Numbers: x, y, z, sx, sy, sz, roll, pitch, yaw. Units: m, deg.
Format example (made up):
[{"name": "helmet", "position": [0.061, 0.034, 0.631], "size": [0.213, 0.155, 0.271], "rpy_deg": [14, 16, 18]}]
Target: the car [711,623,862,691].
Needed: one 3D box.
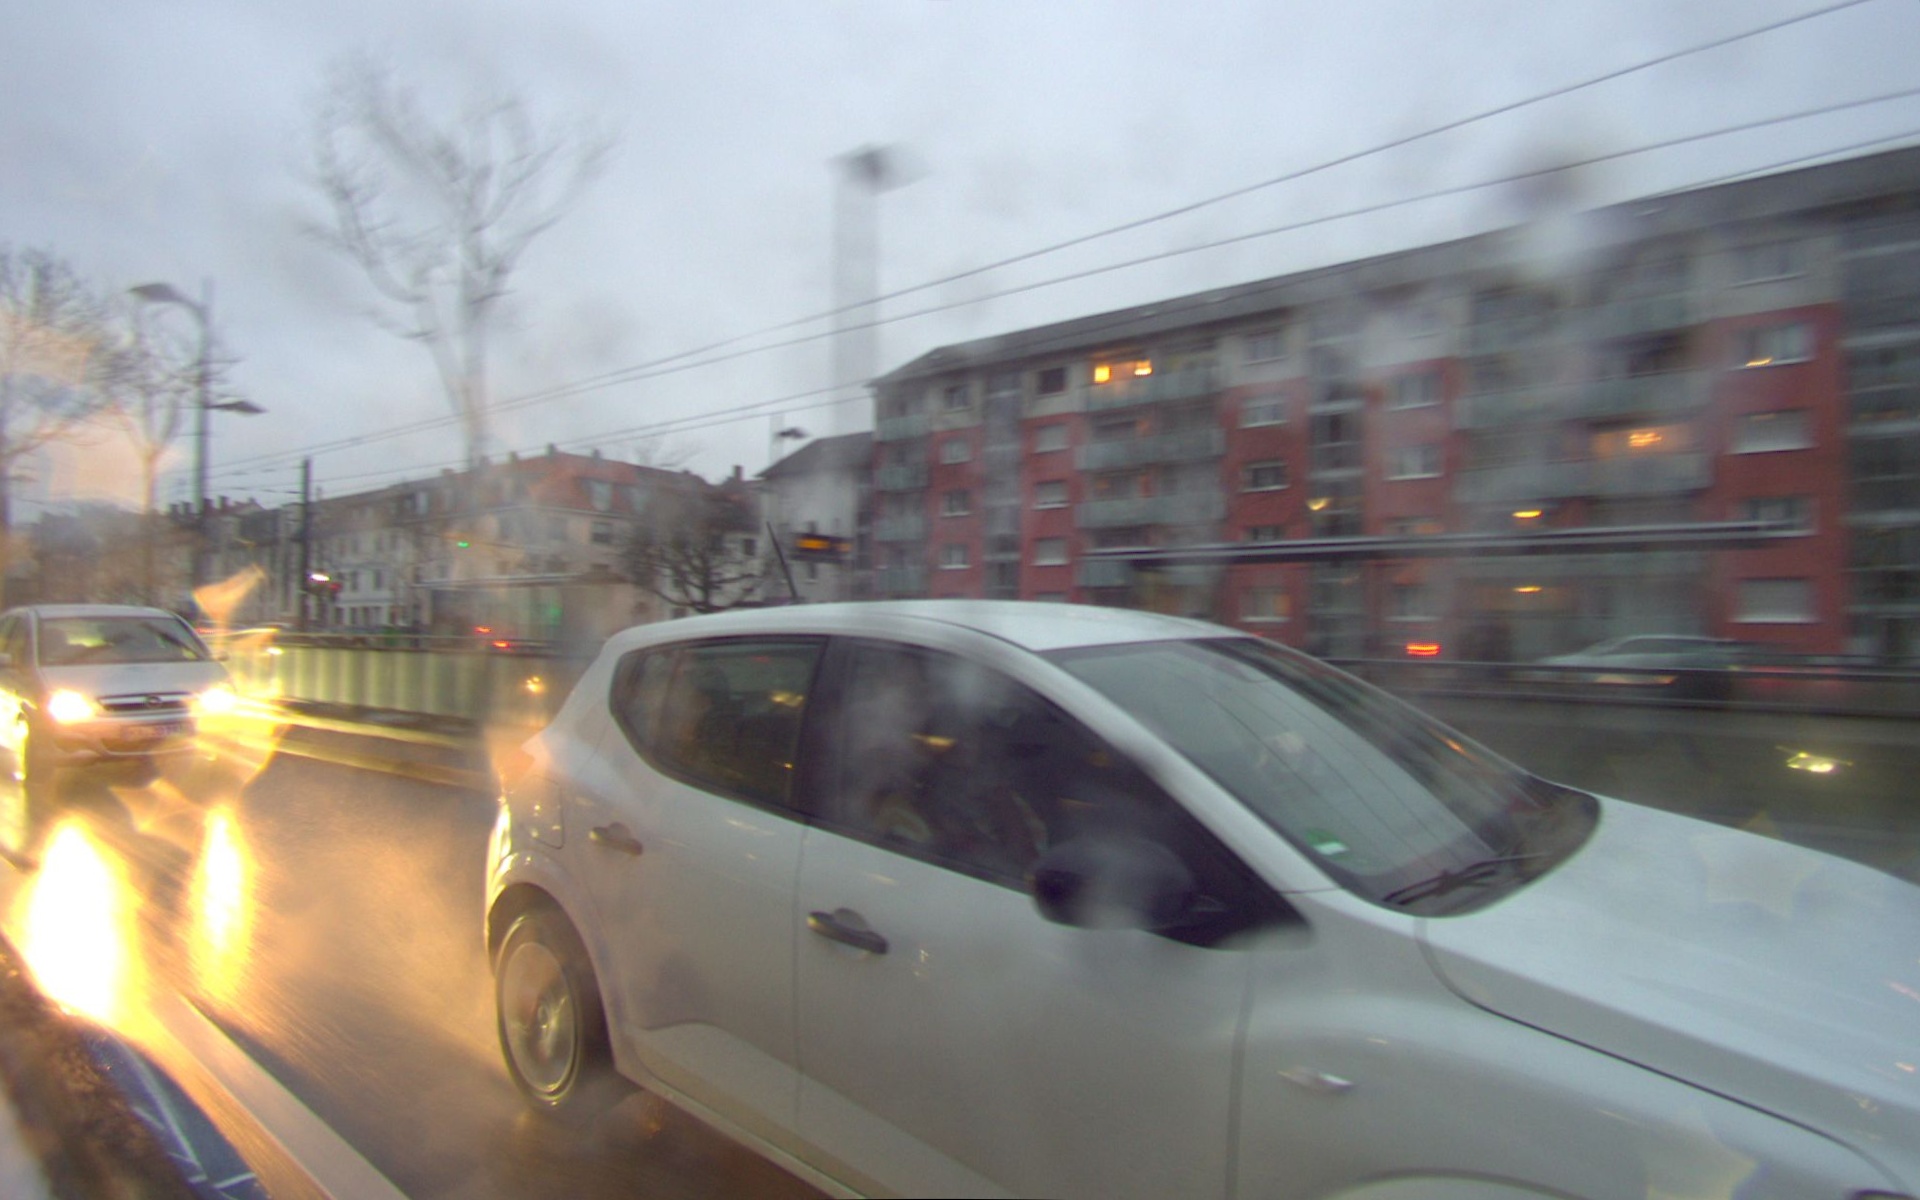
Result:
[{"name": "car", "position": [-5.624, 1.756, 32.492], "size": [4.894, 1.927, 2.004], "rpy_deg": [0, 0, 37]}]

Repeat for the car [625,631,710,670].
[{"name": "car", "position": [-11.594, 1.976, 40.046], "size": [3.370, 1.368, 1.572], "rpy_deg": [0, 0, 37]}]

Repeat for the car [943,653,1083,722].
[{"name": "car", "position": [1.577, 2.603, 30.726], "size": [3.993, 1.772, 1.676], "rpy_deg": [0, 0, 37]}]

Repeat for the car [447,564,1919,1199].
[{"name": "car", "position": [0.459, 0.707, 2.503], "size": [3.998, 1.477, 1.690], "rpy_deg": [0, 0, 41]}]

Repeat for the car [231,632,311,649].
[{"name": "car", "position": [-47.269, 2.784, 69.536], "size": [4.330, 1.140, 1.251], "rpy_deg": [1, -1, -20]}]

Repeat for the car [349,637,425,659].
[{"name": "car", "position": [-35.442, 2.951, 62.666], "size": [3.931, 1.265, 1.449], "rpy_deg": [0, 0, -20]}]

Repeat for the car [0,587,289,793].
[{"name": "car", "position": [-8.680, 0.740, 10.359], "size": [3.997, 1.690, 1.995], "rpy_deg": [0, 0, 40]}]

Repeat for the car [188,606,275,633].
[{"name": "car", "position": [-62.944, 1.656, 87.507], "size": [5.807, 2.272, 1.827], "rpy_deg": [1, -1, -20]}]

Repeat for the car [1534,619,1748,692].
[{"name": "car", "position": [16.357, 1.272, 24.408], "size": [4.147, 1.555, 1.707], "rpy_deg": [0, 0, 40]}]

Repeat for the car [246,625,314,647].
[{"name": "car", "position": [-49.842, 2.641, 74.262], "size": [3.944, 1.516, 1.317], "rpy_deg": [1, 0, -18]}]

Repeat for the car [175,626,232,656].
[{"name": "car", "position": [-44.188, 2.372, 59.100], "size": [3.739, 1.651, 1.510], "rpy_deg": [0, -2, 34]}]

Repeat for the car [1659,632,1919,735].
[{"name": "car", "position": [13.685, 1.310, 16.884], "size": [3.233, 1.446, 1.672], "rpy_deg": [0, 0, 39]}]

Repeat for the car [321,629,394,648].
[{"name": "car", "position": [-39.545, 2.514, 66.503], "size": [3.931, 1.140, 1.366], "rpy_deg": [0, 0, -18]}]
